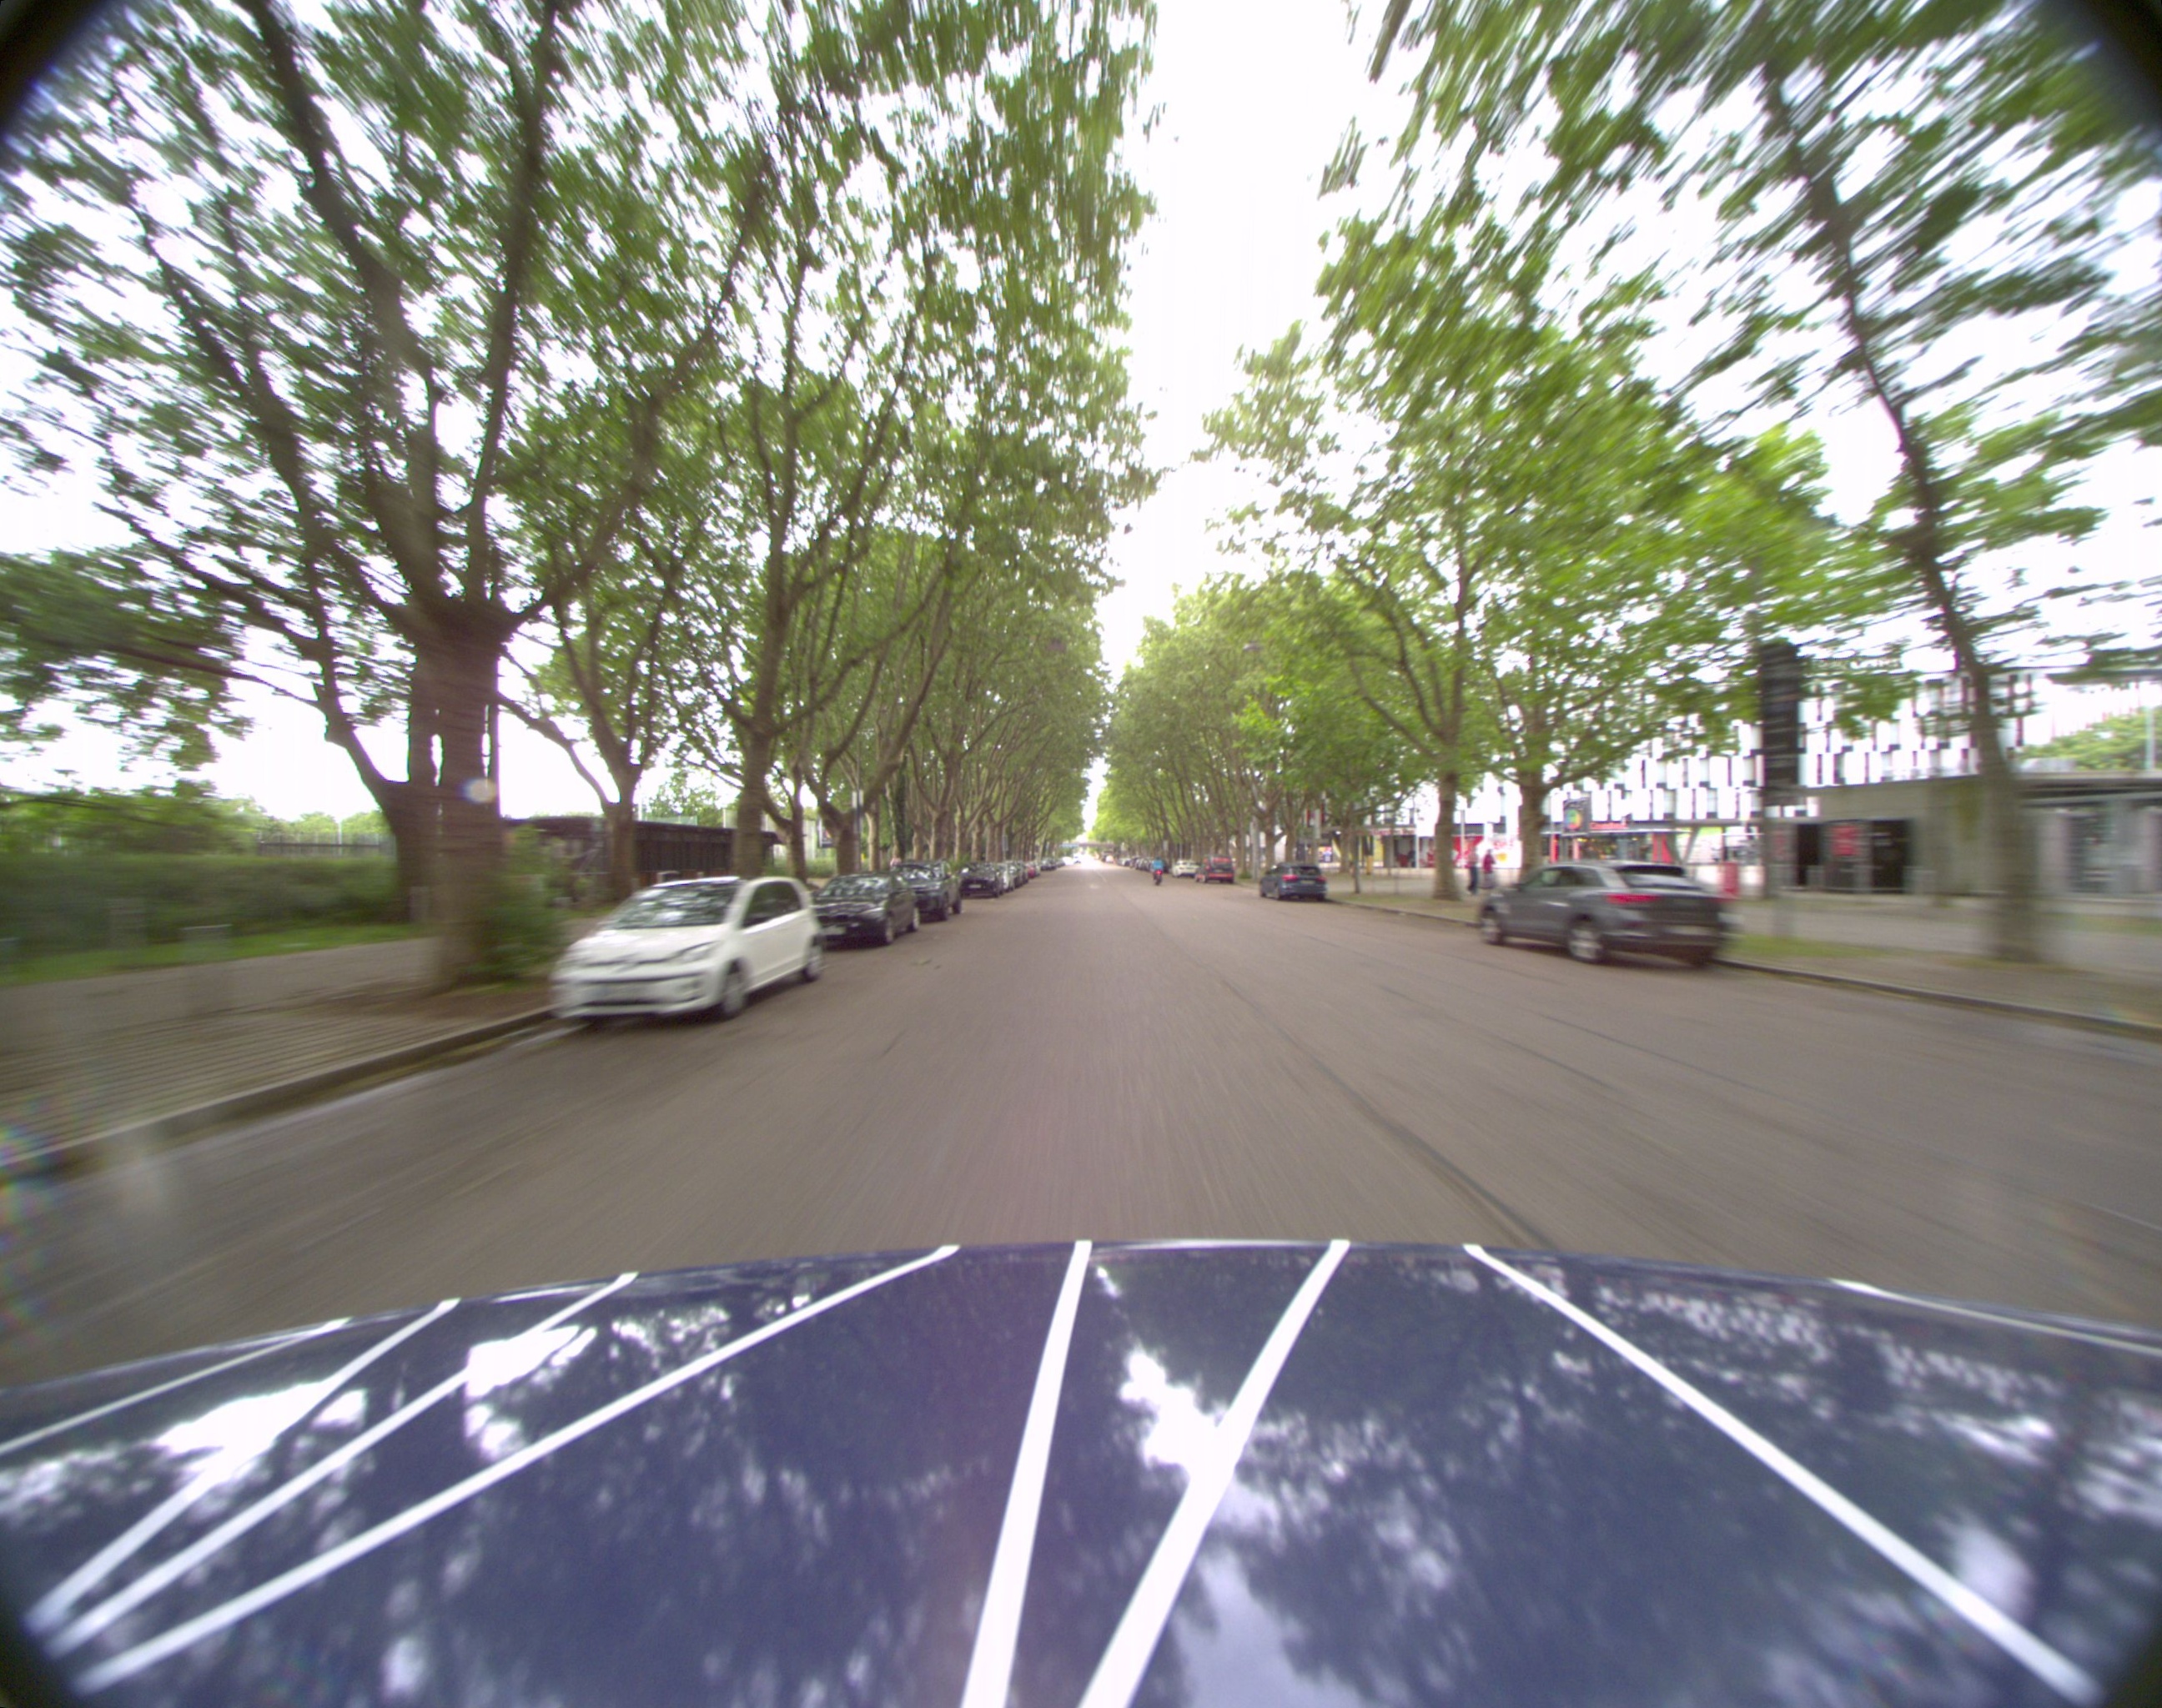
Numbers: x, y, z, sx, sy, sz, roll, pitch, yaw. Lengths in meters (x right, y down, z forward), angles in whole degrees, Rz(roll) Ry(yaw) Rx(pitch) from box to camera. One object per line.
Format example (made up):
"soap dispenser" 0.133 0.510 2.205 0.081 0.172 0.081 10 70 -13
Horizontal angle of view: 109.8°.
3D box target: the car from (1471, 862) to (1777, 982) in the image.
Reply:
"car" 8.160 0.915 12.009 1.882 1.518 4.151 0 0 0

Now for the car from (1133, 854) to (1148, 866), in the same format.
"car" 8.960 0.909 114.949 1.900 1.785 4.612 2 0 0

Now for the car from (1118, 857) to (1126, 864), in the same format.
"car" 8.719 1.455 162.544 1.698 1.354 4.001 4 0 2

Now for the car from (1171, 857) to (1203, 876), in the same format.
"car" 8.527 0.966 61.695 1.909 1.394 4.751 2 0 0

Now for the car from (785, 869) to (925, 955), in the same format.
"car" -4.519 1.088 15.855 1.712 1.407 4.360 -2 0 -2

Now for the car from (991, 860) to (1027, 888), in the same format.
"car" -4.255 1.137 45.397 1.672 1.500 4.353 -3 0 0

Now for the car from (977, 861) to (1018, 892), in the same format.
"car" -4.332 1.166 39.901 1.620 1.433 3.710 -3 0 1

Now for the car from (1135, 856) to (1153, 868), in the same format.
"car" 8.373 1.027 101.687 2.089 1.521 5.146 1 0 1

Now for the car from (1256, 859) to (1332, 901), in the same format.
"car" 8.267 0.953 29.952 1.729 1.477 4.574 -1 0 0

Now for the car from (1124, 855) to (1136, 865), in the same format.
"car" 8.341 1.007 129.701 1.822 1.584 4.345 2 0 2

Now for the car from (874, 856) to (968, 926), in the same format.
"car" -4.415 0.944 21.604 1.712 1.688 4.630 -3 0 -1

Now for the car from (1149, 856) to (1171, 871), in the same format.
"car" 8.221 0.958 79.580 1.838 1.485 4.442 2 0 1

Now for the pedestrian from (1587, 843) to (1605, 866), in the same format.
"pedestrian" 36.745 0.038 54.207 0.726 1.681 0.808 -1 1 4

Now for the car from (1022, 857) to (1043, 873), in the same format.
"car" -4.613 1.056 72.914 1.739 1.430 4.122 -1 0 0

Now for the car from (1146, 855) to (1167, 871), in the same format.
"car" 8.439 0.966 85.135 1.942 1.633 4.928 2 0 1

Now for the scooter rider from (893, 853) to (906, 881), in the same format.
"scooter rider" -11.689 0.815 48.869 0.678 1.789 0.587 1 0 0

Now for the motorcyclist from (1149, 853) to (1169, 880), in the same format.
"motorcyclist" 4.337 0.710 42.310 0.872 1.471 1.265 -1 0 -3

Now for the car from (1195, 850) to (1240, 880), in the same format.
"car" 8.493 0.646 47.801 1.954 1.740 4.638 1 0 0

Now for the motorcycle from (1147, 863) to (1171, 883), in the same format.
"motorcycle" 4.346 1.040 42.505 0.875 1.073 3.052 -1 0 -3

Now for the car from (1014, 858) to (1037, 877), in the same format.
"car" -4.579 1.051 62.729 1.721 1.430 4.627 -3 0 -4

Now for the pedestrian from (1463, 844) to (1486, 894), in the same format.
"pedestrian" 14.172 0.531 27.360 0.577 1.759 0.768 -1 1 15

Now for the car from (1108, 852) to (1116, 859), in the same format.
"car" 8.821 0.515 217.454 2.064 1.950 5.466 0 0 1

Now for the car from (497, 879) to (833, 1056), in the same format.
"car" -4.437 1.106 8.890 1.712 1.419 3.889 -2 0 0

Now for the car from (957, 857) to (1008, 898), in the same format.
"car" -4.418 1.010 34.679 1.782 1.663 4.637 -1 0 -1

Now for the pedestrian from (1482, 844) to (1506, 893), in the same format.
"pedestrian" 14.799 0.513 27.255 0.575 1.732 0.768 -1 1 15

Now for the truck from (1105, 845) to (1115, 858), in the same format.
"truck" 8.869 -0.834 233.877 2.917 3.846 9.466 0 0 0

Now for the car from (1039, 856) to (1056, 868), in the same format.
"car" -4.350 0.995 100.421 1.998 1.469 4.371 -2 0 0

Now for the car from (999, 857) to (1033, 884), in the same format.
"car" -4.287 1.045 50.433 1.760 1.610 4.439 -3 0 0
